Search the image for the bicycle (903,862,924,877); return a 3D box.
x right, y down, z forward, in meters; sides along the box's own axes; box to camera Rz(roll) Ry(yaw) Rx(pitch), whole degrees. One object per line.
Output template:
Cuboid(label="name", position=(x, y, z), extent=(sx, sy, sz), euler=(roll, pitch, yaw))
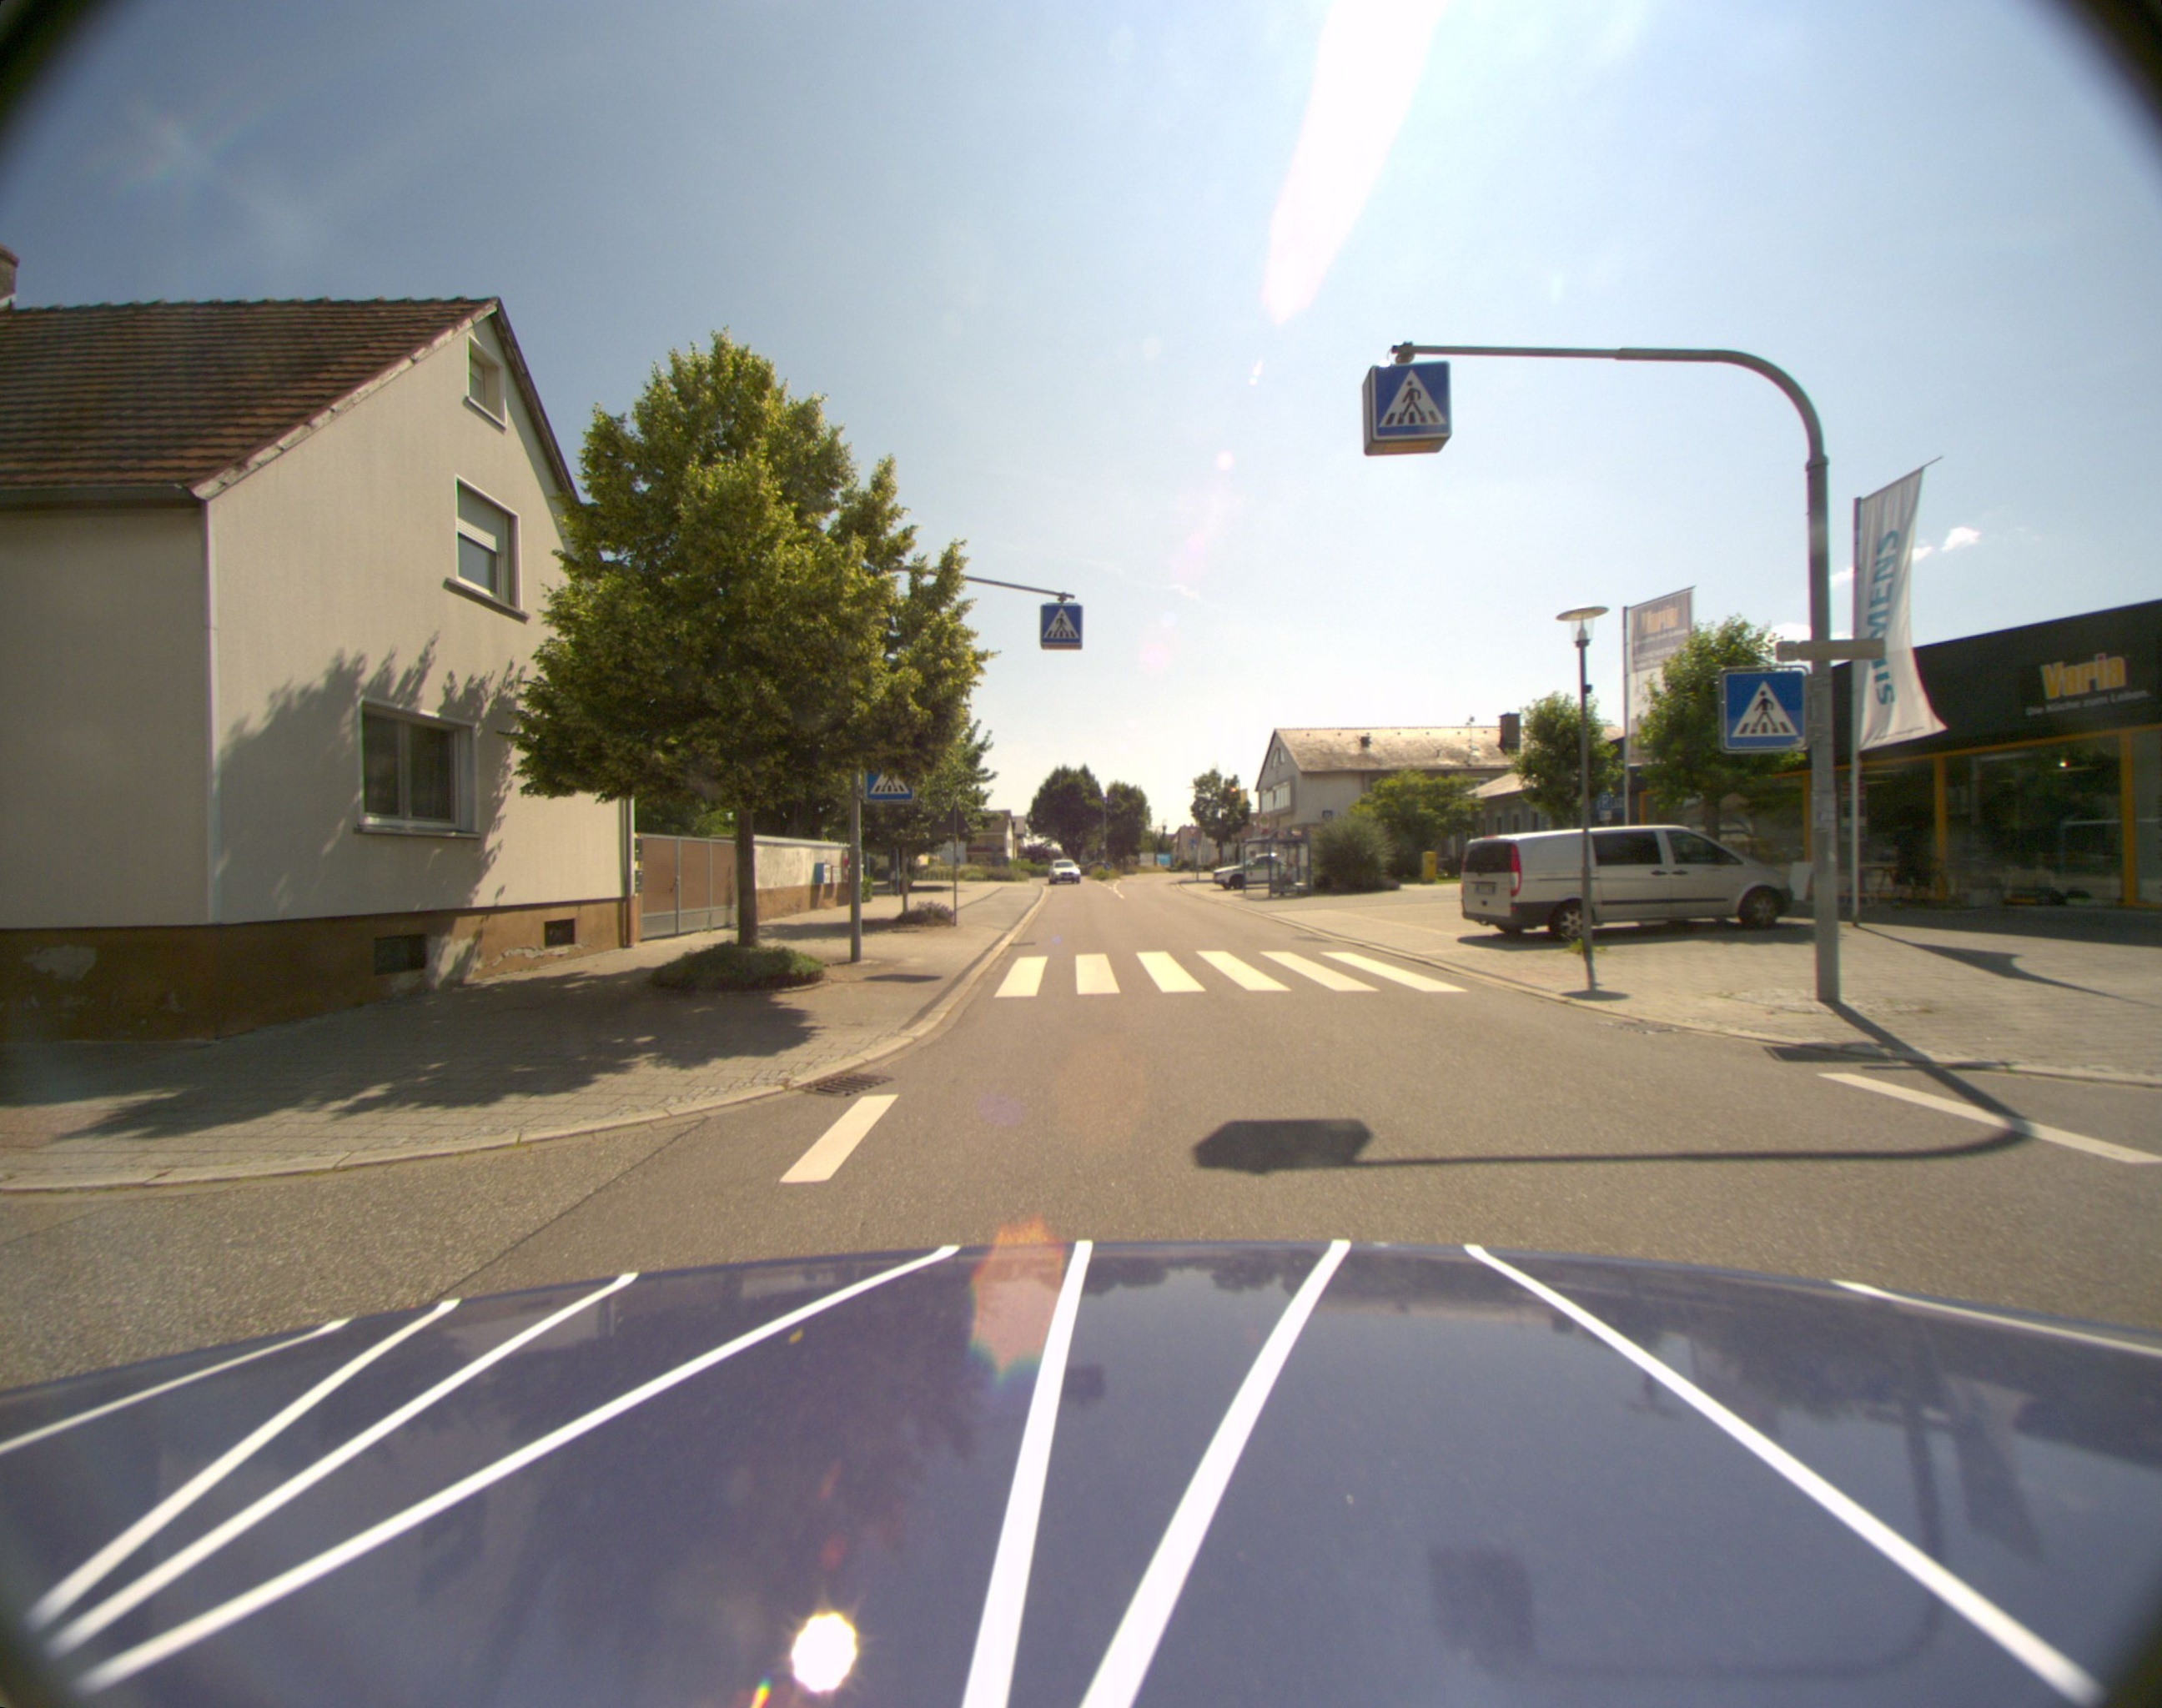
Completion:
Cuboid(label="bicycle", position=(-13.106, 1.228, 59.521), extent=(0.838, 1.104, 2.631), euler=(-1, 0, 3))

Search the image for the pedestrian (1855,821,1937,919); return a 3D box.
Cuboid(label="pedestrian", position=(15.398, 0.281, 14.357), extent=(1.072, 1.764, 0.932), euler=(-1, 0, -37))

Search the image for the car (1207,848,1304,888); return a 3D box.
Cuboid(label="car", position=(8.598, 0.690, 37.639), extent=(4.251, 1.709, 1.944), euler=(-3, 0, -6))

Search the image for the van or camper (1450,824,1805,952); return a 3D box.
Cuboid(label="van or camper", position=(9.390, 0.559, 13.356), extent=(4.752, 1.851, 2.000), euler=(-3, -1, -1))

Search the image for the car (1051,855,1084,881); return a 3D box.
Cuboid(label="car", position=(-0.967, 0.931, 51.035), extent=(1.858, 1.603, 4.133), euler=(-3, 0, -5))

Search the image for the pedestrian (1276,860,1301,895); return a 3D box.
Cuboid(label="pedestrian", position=(8.145, 0.914, 29.858), extent=(0.787, 1.350, 0.607), euler=(-2, 0, 0))
